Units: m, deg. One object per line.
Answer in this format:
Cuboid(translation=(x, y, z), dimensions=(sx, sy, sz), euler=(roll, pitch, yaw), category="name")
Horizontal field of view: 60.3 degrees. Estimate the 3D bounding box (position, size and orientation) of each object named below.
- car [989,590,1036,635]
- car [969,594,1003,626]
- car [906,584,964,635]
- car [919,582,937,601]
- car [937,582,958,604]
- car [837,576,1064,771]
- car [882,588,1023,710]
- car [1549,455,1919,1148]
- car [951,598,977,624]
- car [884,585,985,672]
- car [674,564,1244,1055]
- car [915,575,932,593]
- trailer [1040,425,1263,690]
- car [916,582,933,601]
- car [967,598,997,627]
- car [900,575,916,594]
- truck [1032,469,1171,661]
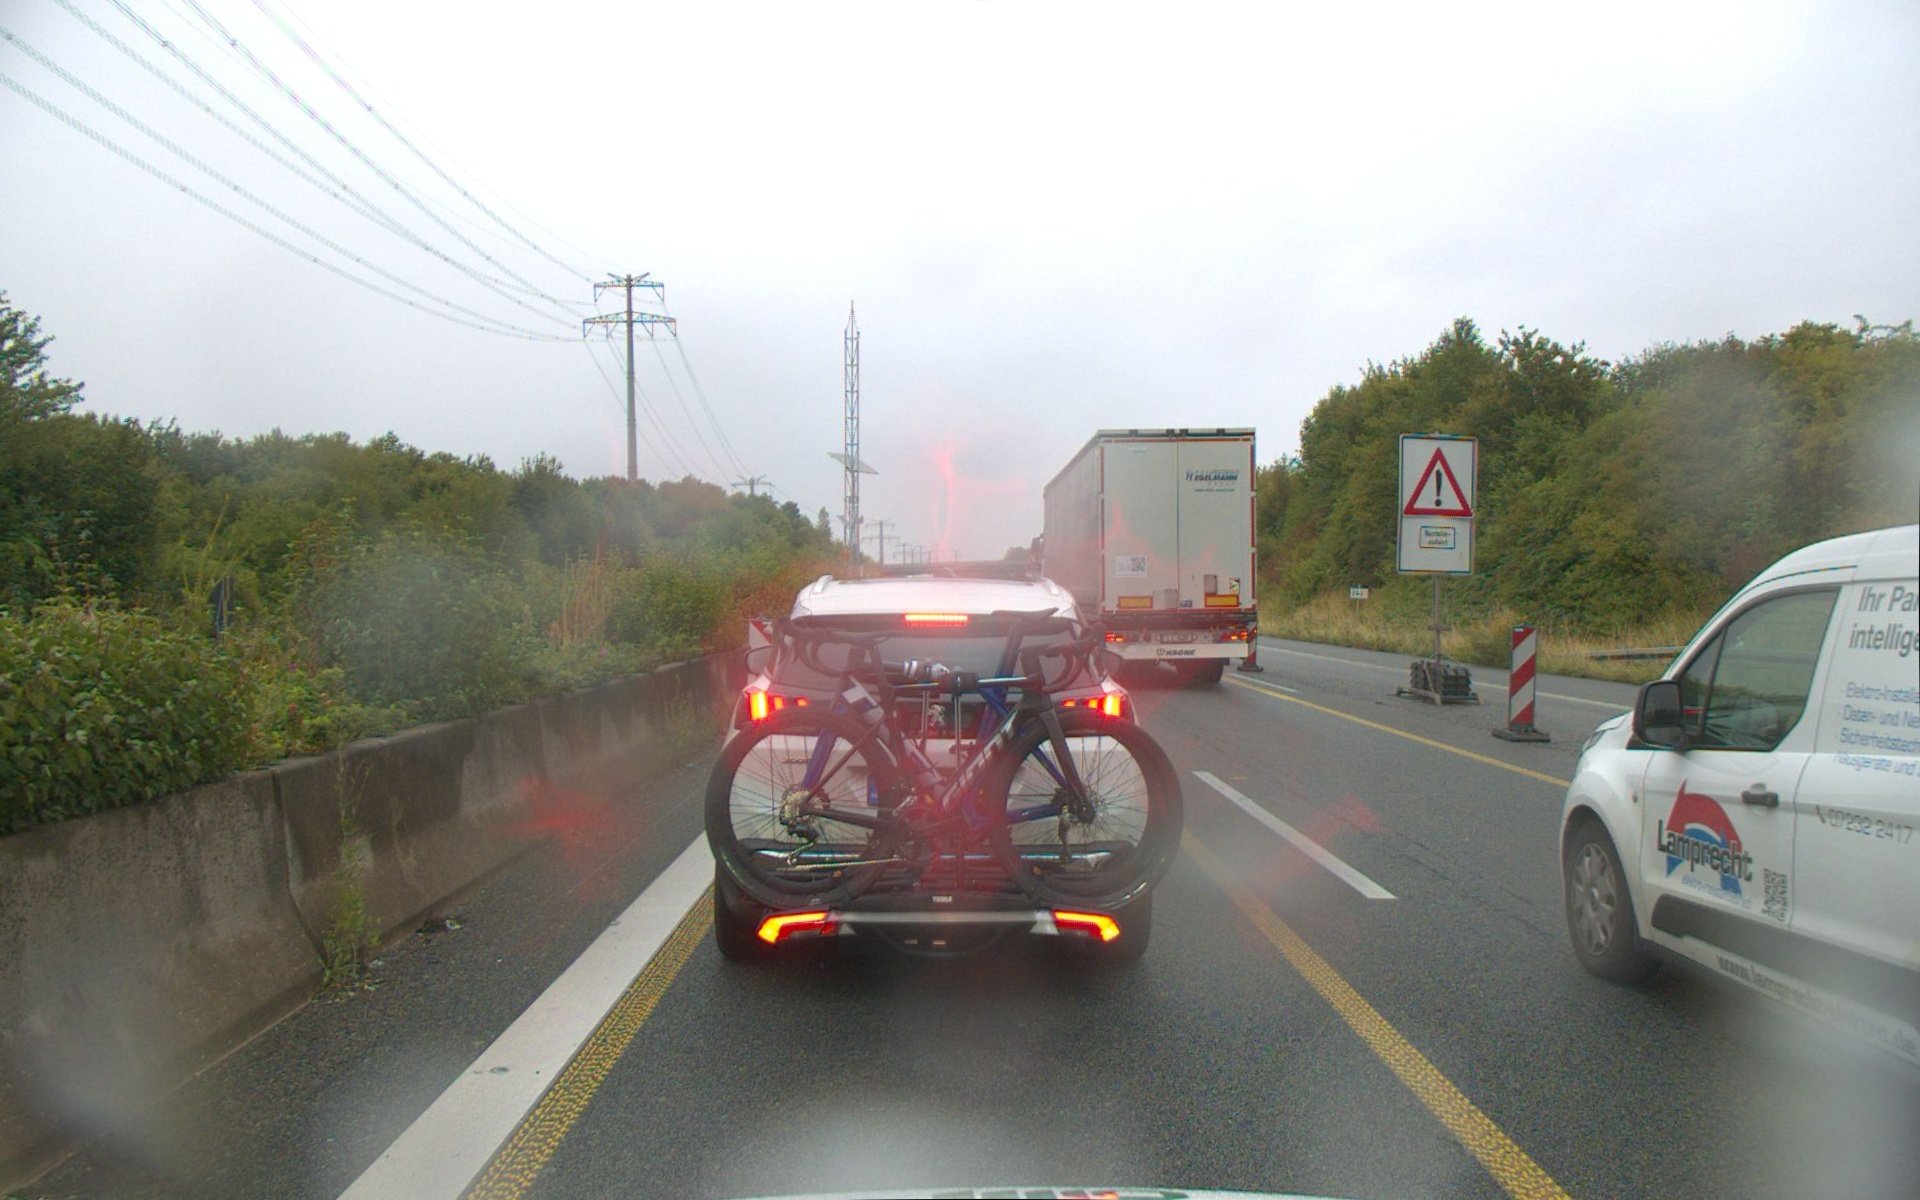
Cuboid(translation=(2.477, 0.552, 78.930), dimensions=(2.067, 2.008, 4.000), euler=(0, 1, -1), category="car")
Cuboid(translation=(1.681, 0.628, 107.805), dimensions=(2.104, 2.008, 4.000), euler=(0, 1, -1), category="car")
Cuboid(translation=(-0.800, 0.290, 53.161), dimensions=(1.812, 1.557, 3.999), euler=(0, 0, -1), category="car")
Cuboid(translation=(-3.442, -0.965, 178.970), dimensions=(1.892, 1.944, 4.000), euler=(0, 1, -1), category="car")
Cuboid(translation=(-1.216, -0.712, 158.683), dimensions=(1.892, 2.008, 4.000), euler=(0, 1, -1), category="car")
Cuboid(translation=(-0.102, 0.585, 15.288), dimensions=(1.812, 1.557, 3.999), euler=(0, 0, -1), category="car")
Cuboid(translation=(-0.122, 0.616, 23.247), dimensions=(1.812, 1.557, 3.999), euler=(0, 0, -1), category="car")
Cuboid(translation=(3.485, 0.545, 4.857), dimensions=(1.792, 1.871, 4.654), euler=(0, 0, -1), category="car")
Cuboid(translation=(0.352, 0.907, 138.621), dimensions=(2.104, 2.008, 4.000), euler=(0, 1, -1), category="car")
Cuboid(translation=(-0.486, 0.496, 31.759), dimensions=(1.812, 1.557, 3.999), euler=(0, 0, -1), category="car")
Cuboid(translation=(-0.032, 0.659, 7.662), dimensions=(1.812, 1.557, 4.768), euler=(0, 0, -1), category="car")
Cuboid(translation=(-4.253, -1.882, 191.576), dimensions=(1.892, 2.008, 4.000), euler=(0, 1, -1), category="car")
Cuboid(translation=(3.329, -0.695, 32.747), dimensions=(2.638, 4.148, 13.631), euler=(0, 0, -1), category="trailer")
Cuboid(translation=(-3.935, -0.944, 186.071), dimensions=(1.892, 2.008, 4.000), euler=(0, 1, -1), category="car")
Cuboid(translation=(1.649, 0.922, 122.997), dimensions=(2.104, 2.008, 4.000), euler=(0, 1, -1), category="car")
Cuboid(translation=(-7.075, -2.126, 225.743), dimensions=(2.212, 2.467, 4.000), euler=(0, 1, -1), category="car")
Cuboid(translation=(3.201, -0.775, 39.003), dimensions=(2.606, 4.148, 6.538), euler=(0, 0, -1), category="truck")
